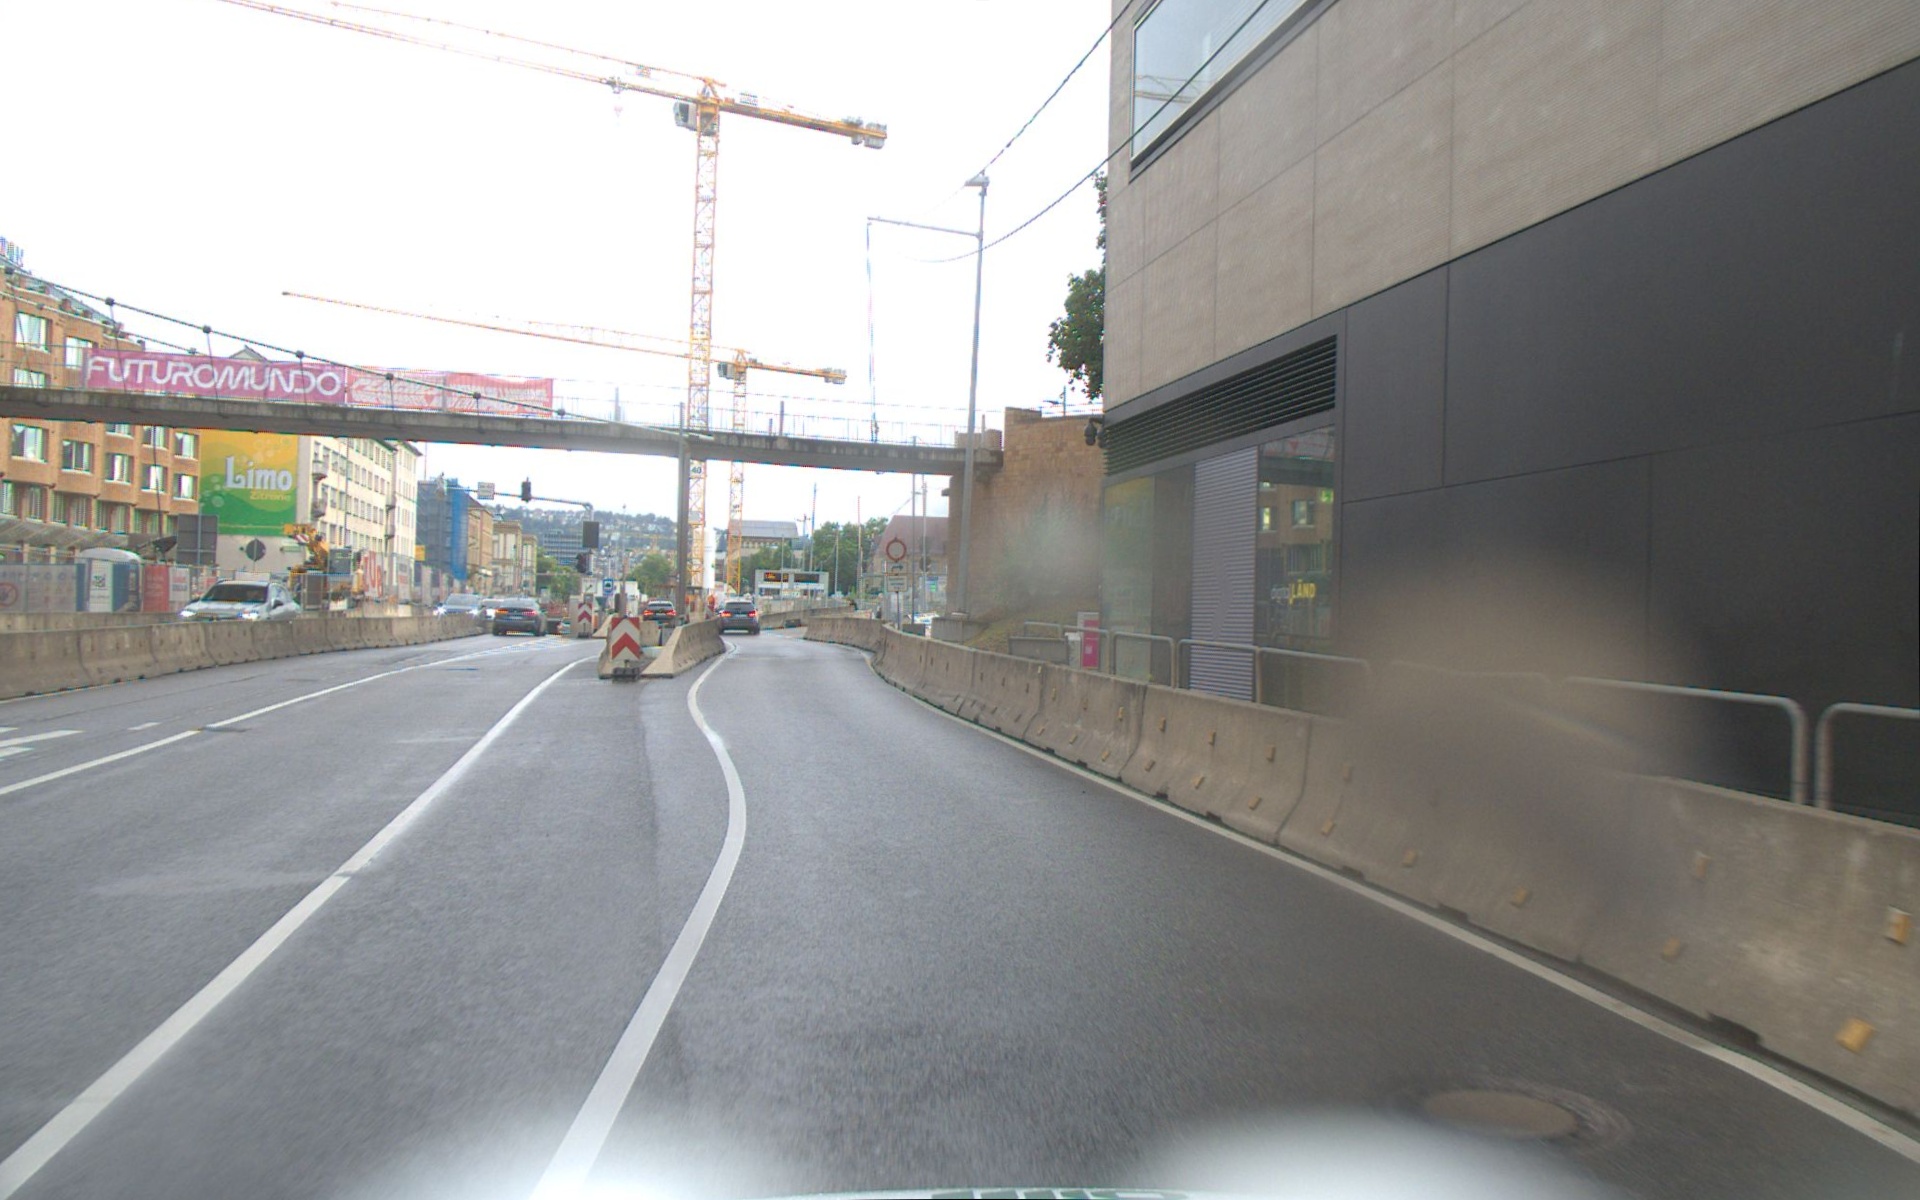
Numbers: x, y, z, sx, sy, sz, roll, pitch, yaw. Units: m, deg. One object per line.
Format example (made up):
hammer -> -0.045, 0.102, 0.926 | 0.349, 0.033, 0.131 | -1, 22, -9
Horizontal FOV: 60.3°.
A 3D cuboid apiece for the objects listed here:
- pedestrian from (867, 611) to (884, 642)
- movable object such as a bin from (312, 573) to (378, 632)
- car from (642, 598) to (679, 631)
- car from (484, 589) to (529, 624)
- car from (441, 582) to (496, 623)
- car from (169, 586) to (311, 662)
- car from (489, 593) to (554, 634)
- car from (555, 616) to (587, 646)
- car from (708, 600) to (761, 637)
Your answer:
pedestrian -> -4.970, 1.567, 97.109 | 0.682, 1.809, 0.807 | 1, -1, -29
movable object such as a bin -> -25.796, 0.083, 69.519 | 1.992, 2.317, 4.278 | -2, 0, -13
car -> -16.210, 0.780, 89.693 | 1.828, 1.689, 4.646 | 2, 0, -9
car -> -25.372, 0.348, 92.670 | 1.772, 1.853, 5.291 | 1, 1, -8
car -> -22.000, 0.090, 74.122 | 1.772, 1.651, 3.897 | 1, 2, -8
car -> -17.121, 0.531, 39.580 | 1.957, 1.651, 4.693 | 1, 1, -9
car -> -17.119, 0.494, 64.792 | 1.828, 1.468, 4.648 | 2, 0, -8
car -> -25.257, 1.968, 107.370 | 1.830, 1.796, 4.643 | 2, 0, -12
car -> -9.789, 0.778, 71.418 | 1.831, 1.458, 4.641 | 2, 0, -13
